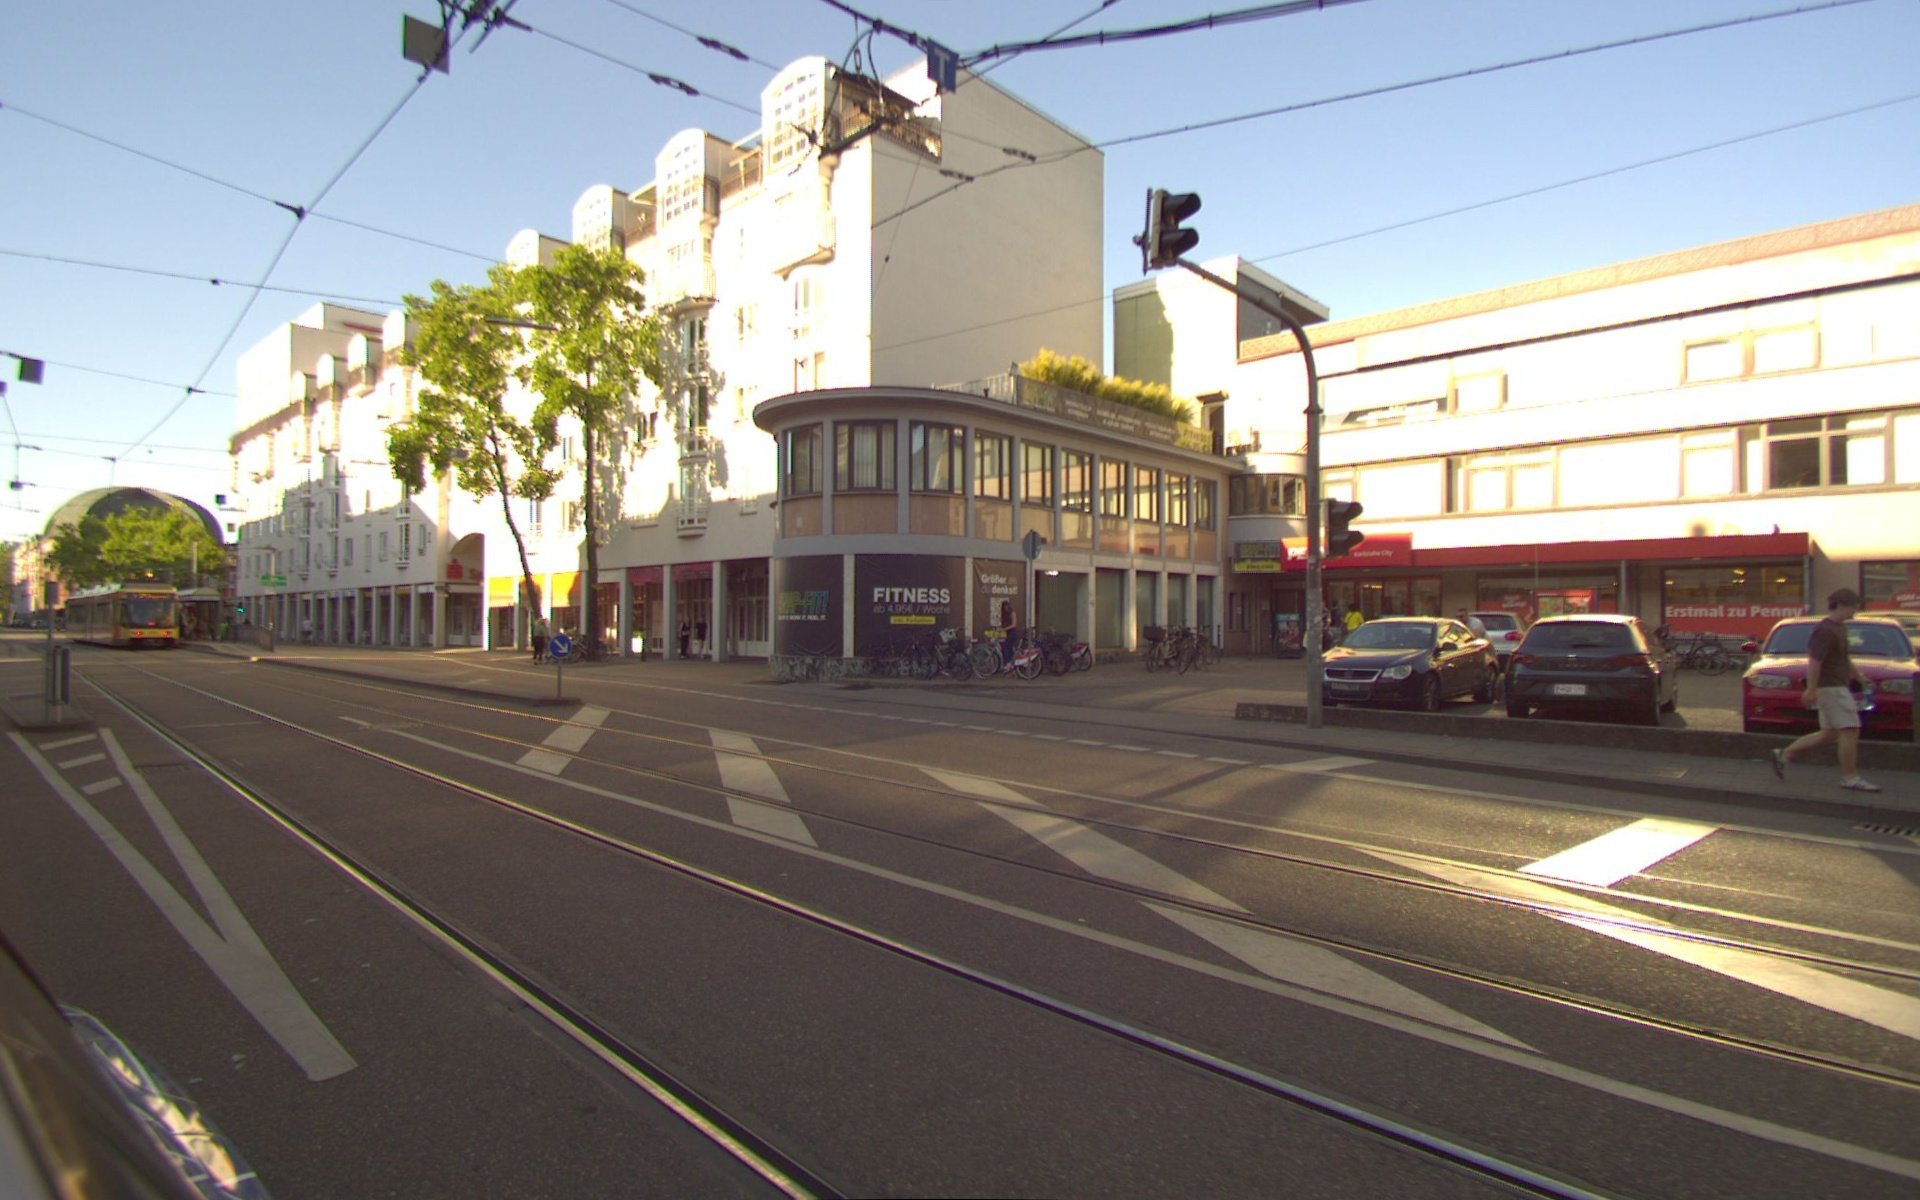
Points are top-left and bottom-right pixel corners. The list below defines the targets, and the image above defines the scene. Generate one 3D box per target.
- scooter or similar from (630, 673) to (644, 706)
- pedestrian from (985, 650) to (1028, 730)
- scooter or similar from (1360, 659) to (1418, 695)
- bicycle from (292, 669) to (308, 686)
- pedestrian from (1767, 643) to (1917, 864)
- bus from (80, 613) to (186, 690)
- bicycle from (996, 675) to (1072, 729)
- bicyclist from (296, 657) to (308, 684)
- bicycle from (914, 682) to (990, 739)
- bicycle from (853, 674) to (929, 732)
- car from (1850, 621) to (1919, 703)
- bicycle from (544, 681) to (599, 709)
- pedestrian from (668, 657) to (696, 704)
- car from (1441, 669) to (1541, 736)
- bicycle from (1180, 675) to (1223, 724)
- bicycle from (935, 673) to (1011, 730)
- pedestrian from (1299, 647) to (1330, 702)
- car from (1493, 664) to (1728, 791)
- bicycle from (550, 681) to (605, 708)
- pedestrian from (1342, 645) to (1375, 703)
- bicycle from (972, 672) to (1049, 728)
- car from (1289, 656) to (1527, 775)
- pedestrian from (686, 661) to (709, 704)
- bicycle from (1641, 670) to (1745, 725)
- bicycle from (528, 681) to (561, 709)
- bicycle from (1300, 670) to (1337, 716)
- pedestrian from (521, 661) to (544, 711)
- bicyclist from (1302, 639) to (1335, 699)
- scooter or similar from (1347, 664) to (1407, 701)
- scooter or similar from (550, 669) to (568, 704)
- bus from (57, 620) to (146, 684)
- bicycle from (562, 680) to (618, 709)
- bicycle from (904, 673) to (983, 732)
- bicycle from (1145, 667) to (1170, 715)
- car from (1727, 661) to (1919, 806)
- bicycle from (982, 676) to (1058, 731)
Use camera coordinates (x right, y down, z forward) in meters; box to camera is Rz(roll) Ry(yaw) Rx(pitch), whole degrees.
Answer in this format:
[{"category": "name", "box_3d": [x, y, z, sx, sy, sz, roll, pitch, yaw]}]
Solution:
[{"category": "scooter or similar", "box_3d": [-11.306, 3.128, 35.407, 0.330, 1.120, 1.183, 2, -4, -23]}, {"category": "pedestrian", "box_3d": [1.029, 1.985, 22.428, 0.683, 1.710, 0.673, -4, -6, 42]}, {"category": "scooter or similar", "box_3d": [11.900, 2.118, 28.066, 1.247, 0.969, 0.903, -3, -4, 42]}, {"category": "bicycle", "box_3d": [-42.418, 4.981, 65.066, 1.727, 0.996, 0.511, -3, -4, 45]}, {"category": "pedestrian", "box_3d": [7.972, 1.335, 9.159, 0.909, 1.846, 0.824, -4, -6, 43]}, {"category": "bus", "box_3d": [-43.837, 2.766, 53.400, 13.684, 3.595, 2.779, -3, -5, 45]}, {"category": "bicycle", "box_3d": [1.684, 2.317, 23.270, 1.830, 1.197, 0.443, -4, -6, 41]}, {"category": "bicyclist", "box_3d": [-42.390, 4.561, 65.190, 0.808, 1.713, 0.507, -3, -4, 44]}, {"category": "bicycle", "box_3d": [-0.188, 2.399, 22.239, 1.830, 1.197, 0.443, -4, -6, 41]}, {"category": "bicycle", "box_3d": [-1.508, 2.217, 22.019, 1.829, 1.197, 0.441, -3, -5, 38]}, {"category": "car", "box_3d": [19.015, 1.236, 20.049, 1.999, 1.519, 3.945, -3, -5, 41]}, {"category": "bicycle", "box_3d": [-14.059, 3.424, 36.650, 1.822, 0.919, 0.390, 2, -3, -41]}, {"category": "pedestrian", "box_3d": [-10.431, 3.014, 37.969, 0.623, 1.729, 0.825, 4, -5, -45]}, {"category": "car", "box_3d": [13.171, 2.454, 24.976, 1.873, 1.487, 4.554, -2, -5, 31]}, {"category": "bicycle", "box_3d": [6.109, 2.494, 25.539, 0.349, 1.197, 1.808, -3, -5, 37]}, {"category": "bicycle", "box_3d": [0.277, 2.235, 22.504, 1.830, 1.197, 0.438, -4, -6, 41]}, {"category": "pedestrian", "box_3d": [11.182, 2.353, 31.950, 0.703, 1.710, 0.616, -4, -6, 43]}, {"category": "car", "box_3d": [9.260, 1.674, 14.245, 1.880, 1.487, 4.536, -4, -6, 44]}, {"category": "bicycle", "box_3d": [-13.693, 3.376, 36.266, 1.822, 0.919, 0.390, 2, -5, -41]}, {"category": "pedestrian", "box_3d": [11.876, 2.203, 30.196, 0.683, 1.710, 0.669, -4, -6, 43]}, {"category": "bicycle", "box_3d": [1.112, 2.205, 22.483, 1.830, 1.197, 0.443, -4, -6, 41]}, {"category": "car", "box_3d": [7.239, 1.744, 16.085, 1.880, 1.595, 4.839, -4, -6, 44]}, {"category": "pedestrian", "box_3d": [-9.721, 3.050, 37.506, 0.552, 1.588, 0.632, 4, -5, -45]}, {"category": "bicycle", "box_3d": [16.682, 2.199, 23.066, 0.426, 1.197, 1.834, 4, -5, -39]}, {"category": "bicycle", "box_3d": [-14.620, 3.338, 35.555, 1.852, 0.919, 0.384, -3, -4, 45]}, {"category": "bicycle", "box_3d": [9.499, 2.442, 26.765, 0.679, 1.180, 1.814, -2, -5, 27]}, {"category": "pedestrian", "box_3d": [-14.973, 3.004, 35.435, 0.621, 1.729, 0.827, 2, -4, -19]}, {"category": "bicyclist", "box_3d": [9.514, 1.826, 26.831, 0.688, 1.561, 0.830, -2, -5, 27]}, {"category": "scooter or similar", "box_3d": [11.265, 2.213, 27.357, 1.247, 0.969, 0.903, -3, -4, 42]}, {"category": "scooter or similar", "box_3d": [-15.701, 3.375, 39.592, 0.372, 1.288, 1.182, 0, -3, -34]}, {"category": "bus", "box_3d": [-53.543, 3.287, 62.918, 13.682, 3.595, 2.779, -3, -5, 44]}, {"category": "bicycle", "box_3d": [-13.009, 3.311, 35.602, 1.822, 0.919, 0.390, 2, -3, -41]}, {"category": "bicycle", "box_3d": [-0.360, 2.170, 21.660, 1.829, 1.197, 0.436, -3, -5, 38]}, {"category": "bicycle", "box_3d": [5.063, 2.312, 25.917, 0.452, 1.197, 1.822, -1, -4, 16]}, {"category": "car", "box_3d": [11.016, 1.535, 12.490, 1.880, 1.487, 4.536, -4, -6, 44]}, {"category": "bicycle", "box_3d": [1.344, 2.309, 22.846, 1.830, 1.197, 0.443, -4, -6, 41]}]
